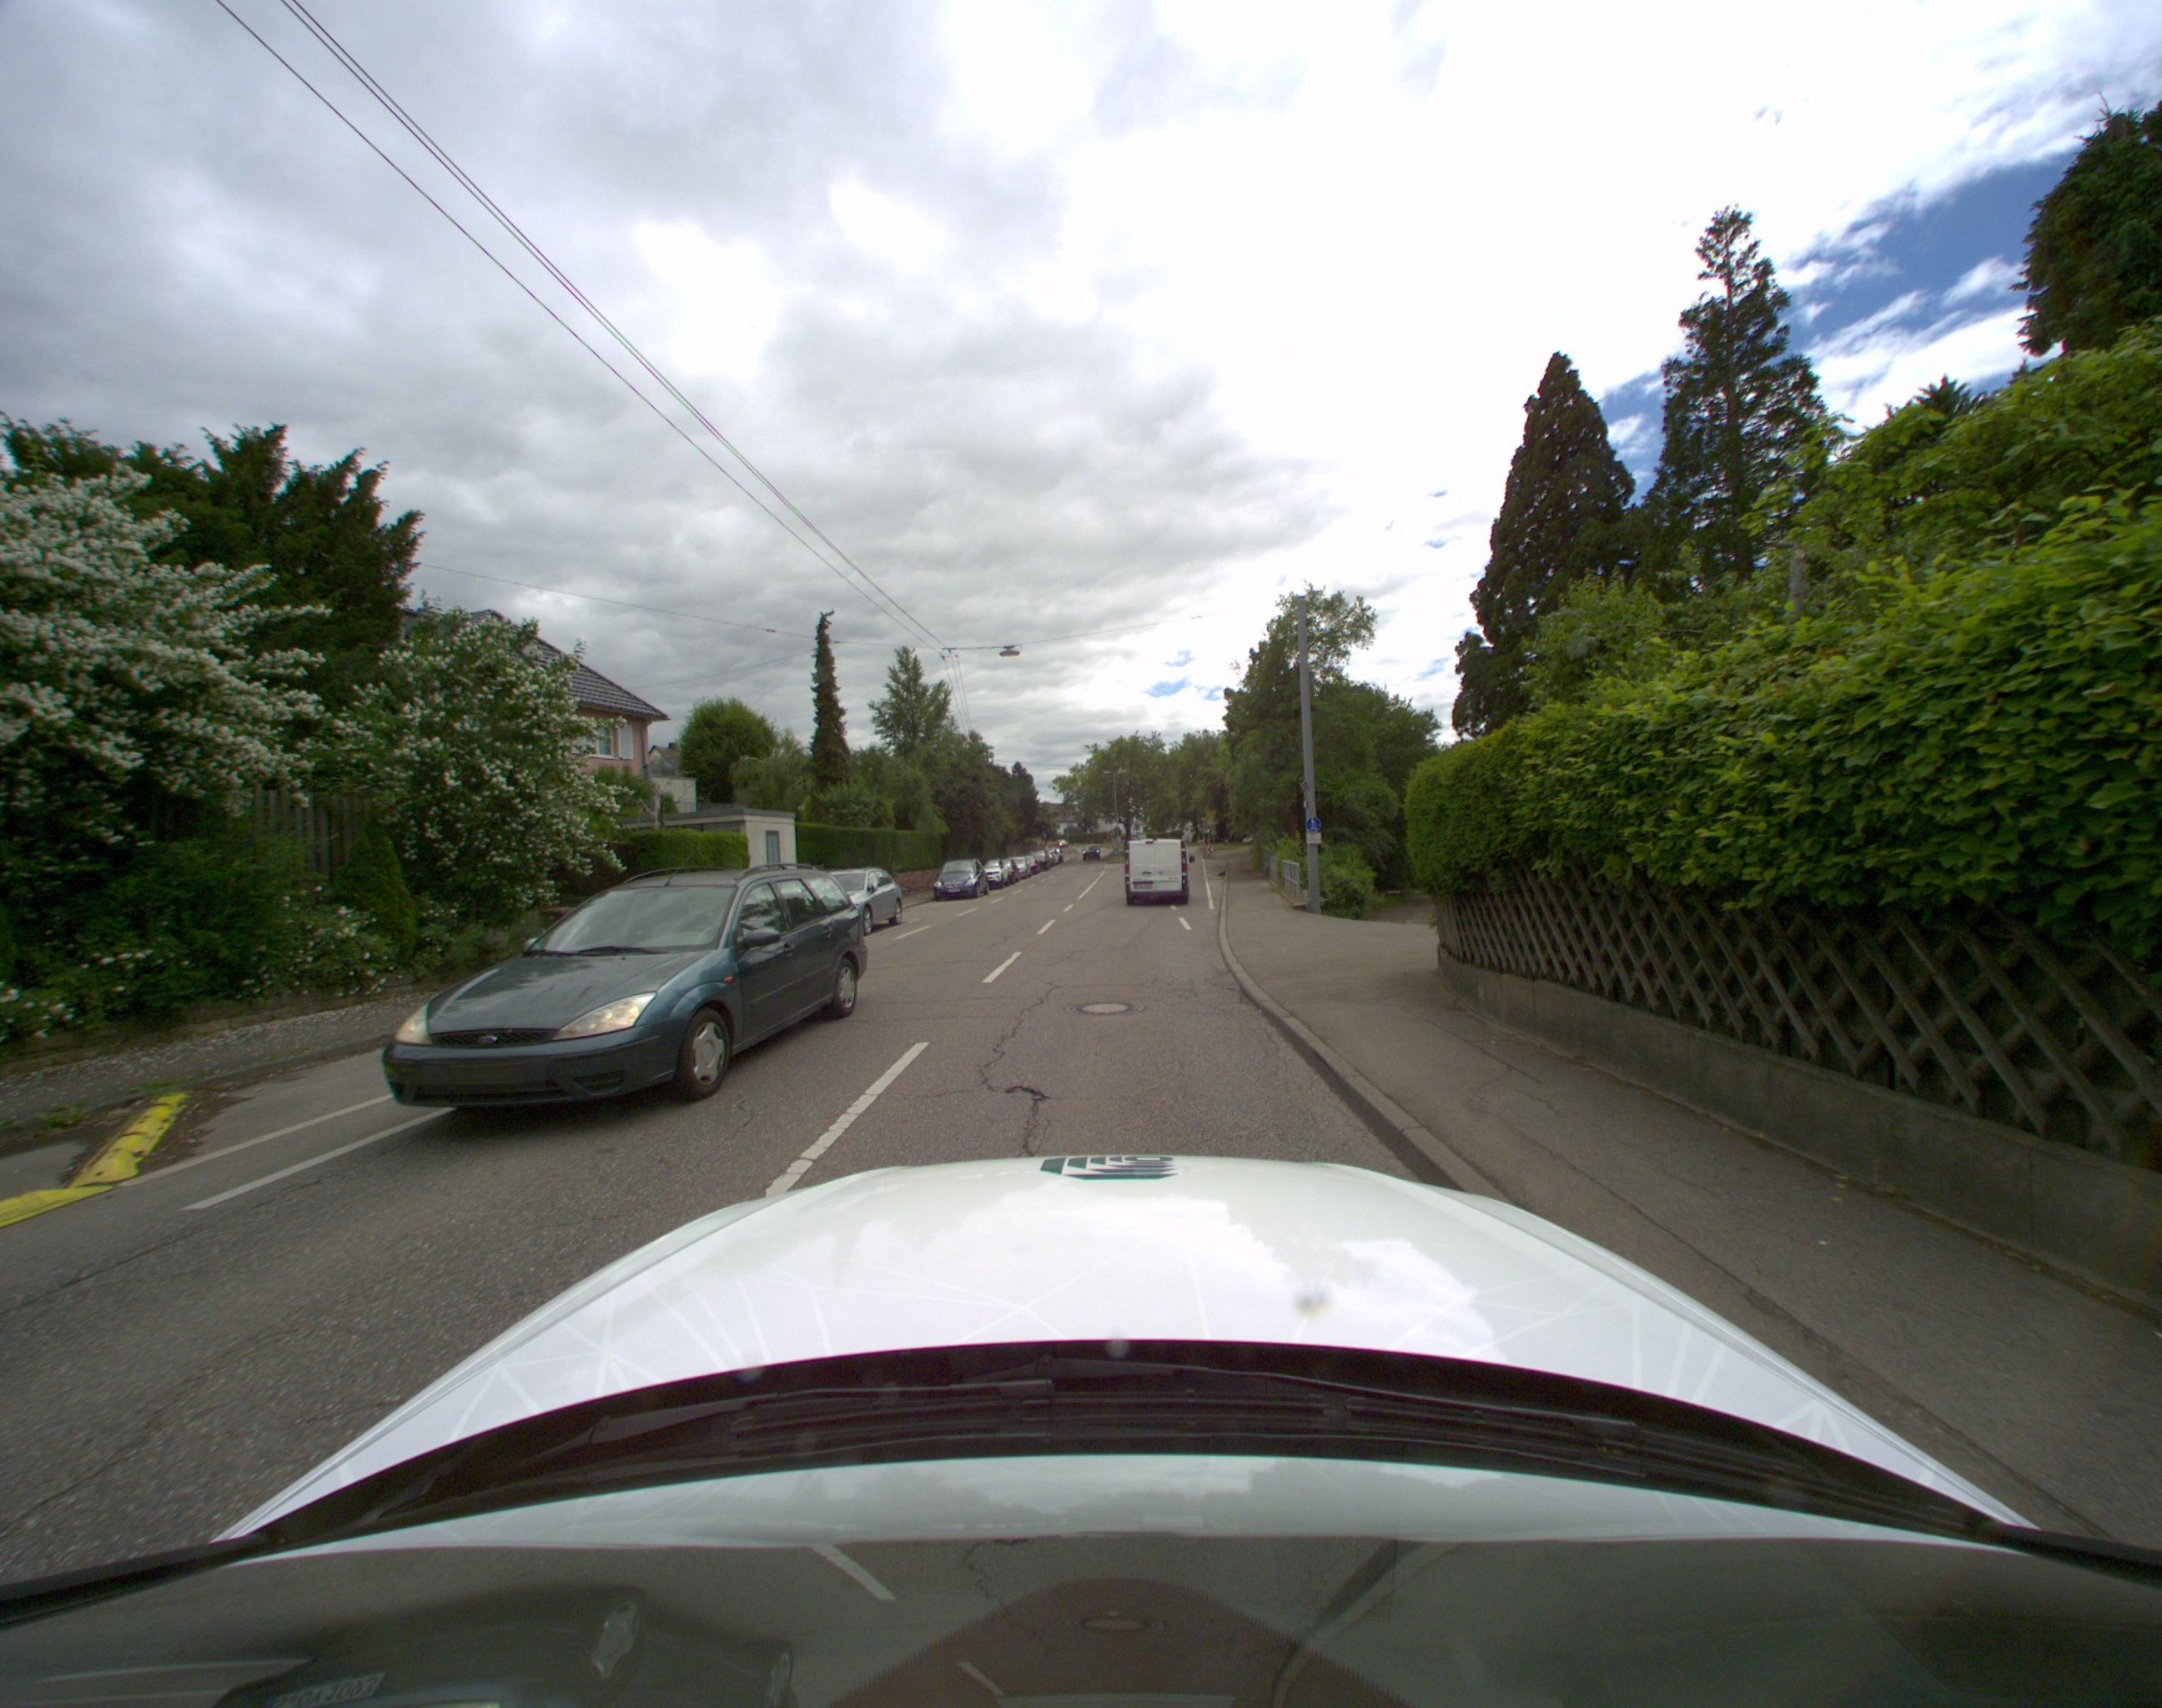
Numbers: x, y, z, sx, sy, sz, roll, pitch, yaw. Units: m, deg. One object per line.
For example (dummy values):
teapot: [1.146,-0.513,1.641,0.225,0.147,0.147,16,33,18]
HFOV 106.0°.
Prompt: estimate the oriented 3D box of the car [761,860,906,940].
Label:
car: [-5.512,0.948,18.764,1.803,1.455,4.414,-5,0,1]

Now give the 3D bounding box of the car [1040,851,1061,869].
car: [-3.102,0.589,83.642,1.666,1.592,4.099,-4,0,2]

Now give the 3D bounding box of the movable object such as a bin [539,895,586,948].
movable object such as a bin: [-9.786,1.263,15.382,0.445,0.942,0.618,-1,-1,14]

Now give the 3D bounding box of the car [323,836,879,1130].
car: [-3.205,0.706,6.708,1.727,1.553,4.450,-3,0,2]

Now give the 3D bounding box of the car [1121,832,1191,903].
car: [2.431,0.396,25.986,1.996,2.038,5.019,0,0,6]

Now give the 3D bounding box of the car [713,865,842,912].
car: [-10.238,1.164,27.598,3.565,1.391,1.855,-2,0,11]

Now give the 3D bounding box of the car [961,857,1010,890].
car: [-4.814,0.955,41.531,1.883,1.494,4.028,-4,0,1]

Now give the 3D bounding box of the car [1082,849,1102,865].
car: [1.285,0.365,91.392,1.834,1.647,4.219,-3,0,5]

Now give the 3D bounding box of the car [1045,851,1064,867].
car: [-2.857,0.487,88.985,1.881,1.625,4.431,-2,0,0]

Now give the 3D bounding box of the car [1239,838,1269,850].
car: [28.646,-1.653,134.718,4.755,1.769,1.982,-2,1,-27]

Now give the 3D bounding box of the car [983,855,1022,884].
car: [-4.494,0.877,47.111,1.663,1.478,3.912,-3,0,1]

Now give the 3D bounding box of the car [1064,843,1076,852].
car: [-2.003,-1.223,150.940,1.990,1.587,4.000,-3,0,2]

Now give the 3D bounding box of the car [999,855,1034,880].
car: [-4.202,0.861,53.433,1.663,1.488,4.433,-3,0,2]

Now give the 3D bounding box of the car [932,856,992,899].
car: [-4.854,0.920,33.760,1.672,1.556,3.973,-4,-1,2]

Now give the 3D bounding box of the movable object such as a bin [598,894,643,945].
movable object such as a bin: [-8.859,1.259,15.674,0.534,0.942,0.511,-1,-1,14]

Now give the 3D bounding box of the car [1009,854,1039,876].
car: [-4.157,0.769,60.239,1.773,1.438,4.001,-3,0,1]

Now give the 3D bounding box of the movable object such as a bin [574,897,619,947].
movable object such as a bin: [-9.513,1.325,15.999,0.534,0.942,0.511,-1,-1,14]

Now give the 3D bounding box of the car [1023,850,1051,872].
car: [-3.590,0.568,67.215,1.987,1.643,4.467,-3,0,1]
